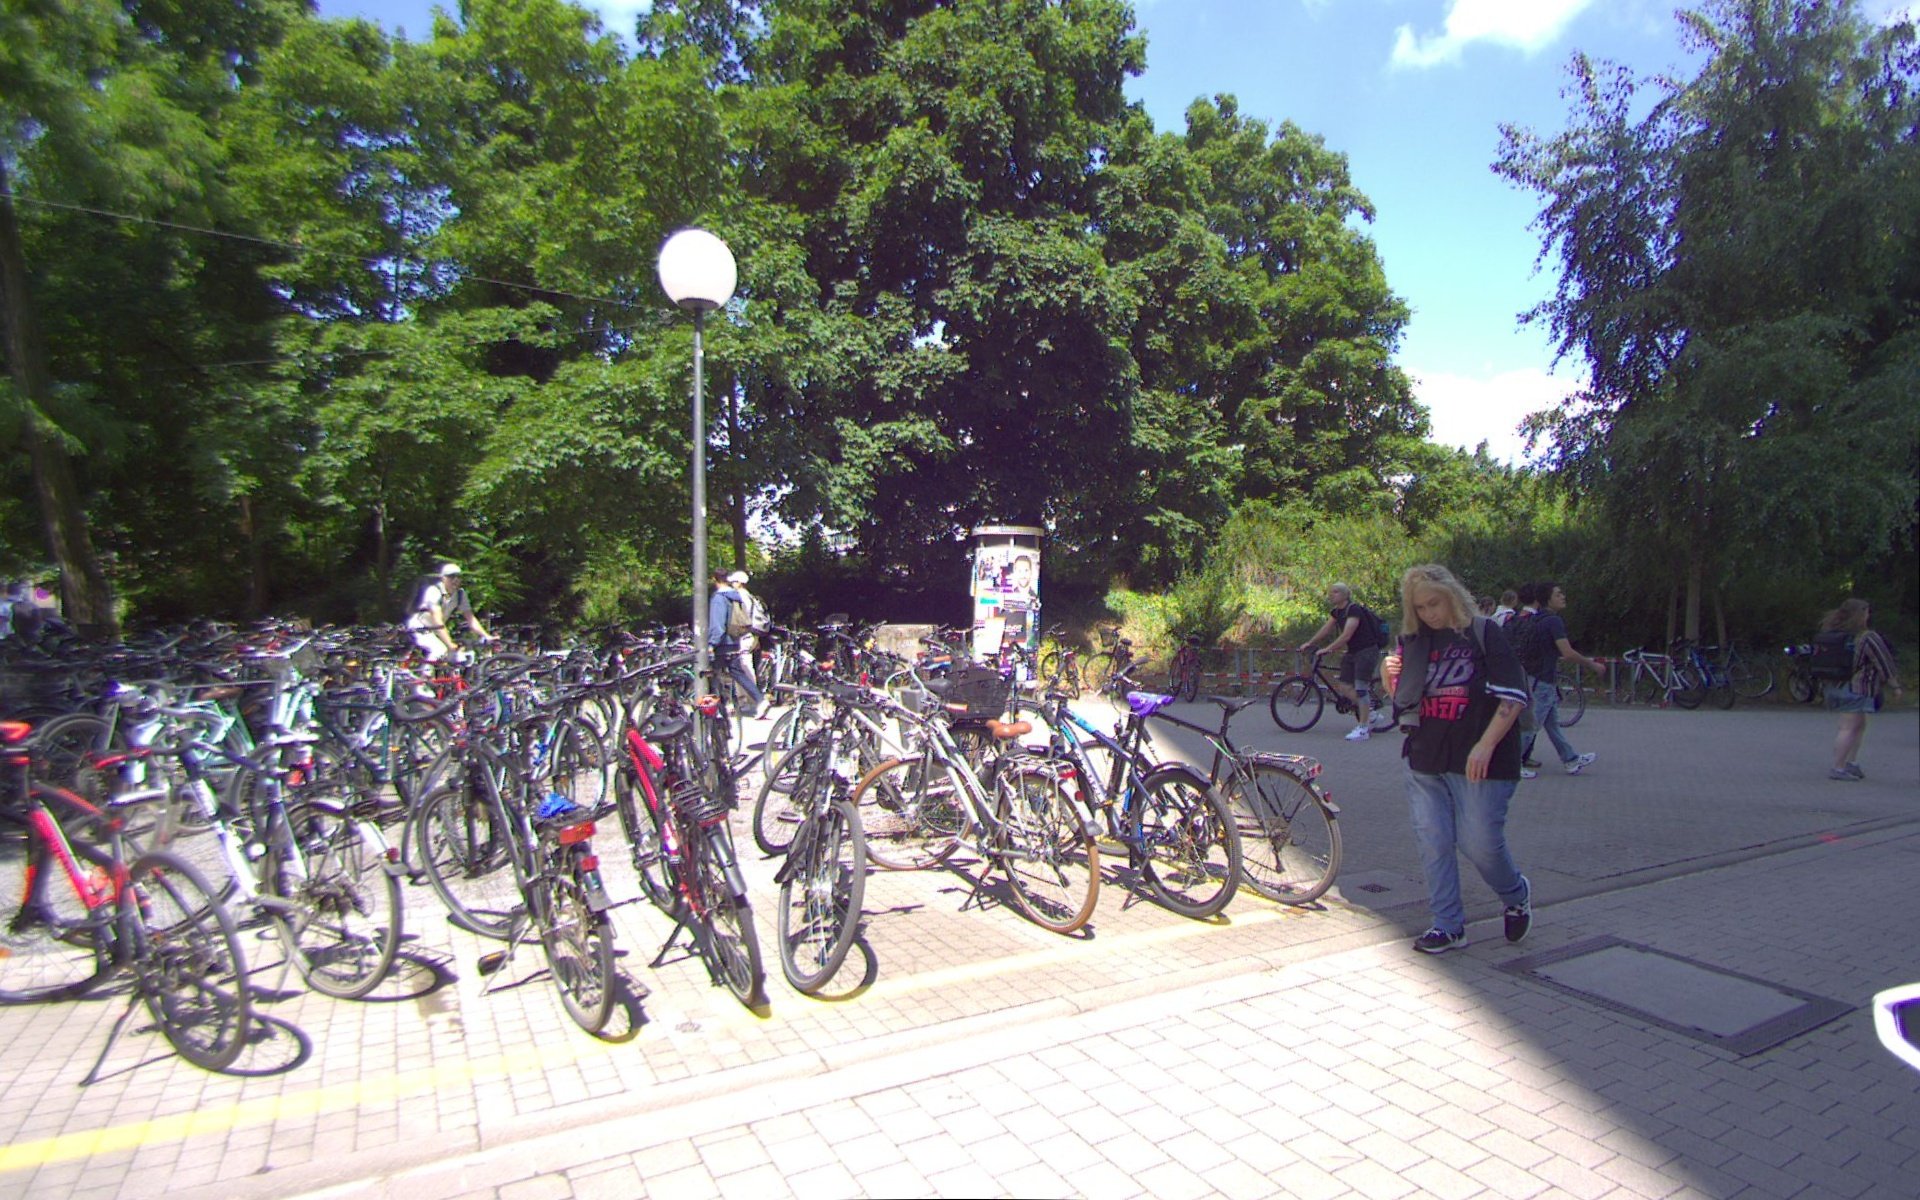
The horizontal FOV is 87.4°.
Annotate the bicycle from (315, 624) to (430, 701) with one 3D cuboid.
[{"bbox_3d":[-9.284,0.961,15.957,0.507,1.125,1.779,1,-1,12],"label":"bicycle"}]

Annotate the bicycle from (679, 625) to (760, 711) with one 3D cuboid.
[{"bbox_3d":[-3.405,0.926,14.355,0.464,1.125,1.779,1,-1,9],"label":"bicycle"}]

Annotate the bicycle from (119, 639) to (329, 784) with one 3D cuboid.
[{"bbox_3d":[-6.406,0.920,8.861,0.464,1.098,1.700,1,-1,5],"label":"bicycle"}]

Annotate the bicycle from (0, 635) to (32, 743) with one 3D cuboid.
[{"bbox_3d":[-10.116,0.911,9.778,0.464,1.098,1.700,1,-1,5],"label":"bicycle"}]

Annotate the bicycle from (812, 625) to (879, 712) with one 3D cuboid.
[{"bbox_3d":[-1.593,0.931,14.224,0.464,1.125,1.779,1,-1,9],"label":"bicycle"}]

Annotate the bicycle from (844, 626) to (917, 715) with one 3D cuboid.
[{"bbox_3d":[-1.079,0.946,14.037,0.464,1.125,1.779,1,-1,14],"label":"bicycle"}]

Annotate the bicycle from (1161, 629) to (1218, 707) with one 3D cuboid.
[{"bbox_3d":[3.605,1.038,15.896,0.465,1.125,1.778,1,-1,-1],"label":"bicycle"}]

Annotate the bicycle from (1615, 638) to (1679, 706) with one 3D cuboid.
[{"bbox_3d":[11.735,1.203,17.199,0.465,1.061,1.700,1,-1,19],"label":"bicycle"}]

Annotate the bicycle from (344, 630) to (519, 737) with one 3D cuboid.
[{"bbox_3d":[-5.850,0.904,11.153,1.665,1.098,0.604,1,0,8],"label":"bicycle"}]

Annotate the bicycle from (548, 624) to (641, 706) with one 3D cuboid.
[{"bbox_3d":[-5.442,0.937,15.052,0.507,1.125,1.779,1,-1,9],"label":"bicycle"}]

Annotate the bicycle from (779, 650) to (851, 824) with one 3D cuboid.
[{"bbox_3d":[-1.122,0.962,7.594,0.465,1.098,1.696,1,-1,-10],"label":"bicycle"}]

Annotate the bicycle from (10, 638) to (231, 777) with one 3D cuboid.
[{"bbox_3d":[-7.557,0.919,9.152,0.464,1.098,1.700,1,-1,5],"label":"bicycle"}]

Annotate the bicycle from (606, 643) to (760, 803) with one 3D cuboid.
[{"bbox_3d":[-2.177,0.921,8.116,0.464,1.098,1.701,1,-1,11],"label":"bicycle"}]

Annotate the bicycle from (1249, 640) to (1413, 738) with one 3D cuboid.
[{"bbox_3d":[4.474,1.070,12.162,1.809,1.125,0.474,1,0,-2],"label":"bicycle"}]

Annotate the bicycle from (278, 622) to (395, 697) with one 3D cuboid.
[{"bbox_3d":[-10.063,0.938,16.289,0.507,1.125,1.779,1,-1,12],"label":"bicycle"}]

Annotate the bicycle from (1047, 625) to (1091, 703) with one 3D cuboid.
[{"bbox_3d":[1.691,0.970,15.808,0.465,1.125,1.778,1,-1,-1],"label":"bicycle"}]

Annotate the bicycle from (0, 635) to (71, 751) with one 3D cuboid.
[{"bbox_3d":[-9.536,0.910,9.589,0.464,1.098,1.700,1,-1,5],"label":"bicycle"}]

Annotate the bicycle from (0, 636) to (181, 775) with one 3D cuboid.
[{"bbox_3d":[-8.042,0.899,9.138,0.464,1.098,1.700,1,-1,5],"label":"bicycle"}]

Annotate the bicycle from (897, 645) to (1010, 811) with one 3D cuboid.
[{"bbox_3d":[-0.092,0.938,7.938,0.466,1.098,1.719,1,-1,-15],"label":"bicycle"}]

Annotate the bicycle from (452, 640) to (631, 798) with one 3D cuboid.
[{"bbox_3d":[-3.347,0.903,8.203,0.464,1.098,1.701,1,-1,11],"label":"bicycle"}]

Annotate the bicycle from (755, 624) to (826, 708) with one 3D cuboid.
[{"bbox_3d":[-2.443,0.927,14.663,0.464,1.125,1.779,1,-1,9],"label":"bicycle"}]

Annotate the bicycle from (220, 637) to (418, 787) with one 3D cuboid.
[{"bbox_3d":[-5.385,0.892,8.569,0.464,1.098,1.700,1,-1,5],"label":"bicycle"}]

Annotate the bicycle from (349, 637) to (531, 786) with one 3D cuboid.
[{"bbox_3d":[-4.385,0.889,8.605,0.464,1.098,1.701,1,-1,8],"label":"bicycle"}]

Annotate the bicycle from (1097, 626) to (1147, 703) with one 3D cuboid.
[{"bbox_3d":[2.552,0.985,15.916,0.465,1.125,1.778,1,-1,-1],"label":"bicycle"}]

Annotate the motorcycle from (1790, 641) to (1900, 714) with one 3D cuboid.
[{"bbox_3d":[14.916,1.271,16.992,0.464,1.061,2.027,1,1,13],"label":"motorcycle"}]

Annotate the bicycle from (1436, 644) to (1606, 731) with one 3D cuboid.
[{"bbox_3d":[7.288,1.127,13.109,1.870,1.061,0.542,1,-1,5],"label":"bicycle"}]

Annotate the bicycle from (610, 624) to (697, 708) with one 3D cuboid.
[{"bbox_3d":[-4.415,0.917,14.576,0.464,1.125,1.779,1,-1,9],"label":"bicycle"}]

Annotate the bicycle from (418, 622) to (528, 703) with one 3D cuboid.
[{"bbox_3d":[-7.319,0.908,15.193,0.507,1.125,1.779,1,-1,12],"label":"bicycle"}]

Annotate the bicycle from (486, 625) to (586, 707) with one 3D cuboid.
[{"bbox_3d":[-6.303,0.945,15.022,0.507,1.125,1.779,1,-1,9],"label":"bicycle"}]

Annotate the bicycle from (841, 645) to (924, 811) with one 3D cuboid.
[{"bbox_3d":[-0.638,0.932,7.864,0.465,1.098,1.696,1,-1,-10],"label":"bicycle"}]

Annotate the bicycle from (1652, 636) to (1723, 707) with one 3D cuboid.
[{"bbox_3d":[12.344,1.190,17.092,0.465,1.061,1.699,2,1,19],"label":"bicycle"}]

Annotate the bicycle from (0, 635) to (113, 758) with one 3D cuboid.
[{"bbox_3d":[-9.050,0.905,9.527,0.464,1.098,1.700,1,-1,5],"label":"bicycle"}]

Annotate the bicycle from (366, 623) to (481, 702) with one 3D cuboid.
[{"bbox_3d":[-8.177,0.924,15.401,0.507,1.125,1.779,1,-1,12],"label":"bicycle"}]

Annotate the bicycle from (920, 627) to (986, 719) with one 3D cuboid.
[{"bbox_3d":[-0.066,0.949,13.641,0.464,1.125,1.779,1,-1,14],"label":"bicycle"}]

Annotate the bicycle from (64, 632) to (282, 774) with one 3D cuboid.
[{"bbox_3d":[-6.883,0.849,8.899,0.464,1.098,1.700,1,-1,5],"label":"bicycle"}]

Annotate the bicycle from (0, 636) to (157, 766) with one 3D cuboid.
[{"bbox_3d":[-8.540,0.908,9.452,0.464,1.098,1.700,1,-1,5],"label":"bicycle"}]

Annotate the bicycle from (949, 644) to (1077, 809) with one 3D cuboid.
[{"bbox_3d":[0.378,0.948,8.097,0.466,1.125,1.693,1,-1,-17],"label":"bicycle"}]
